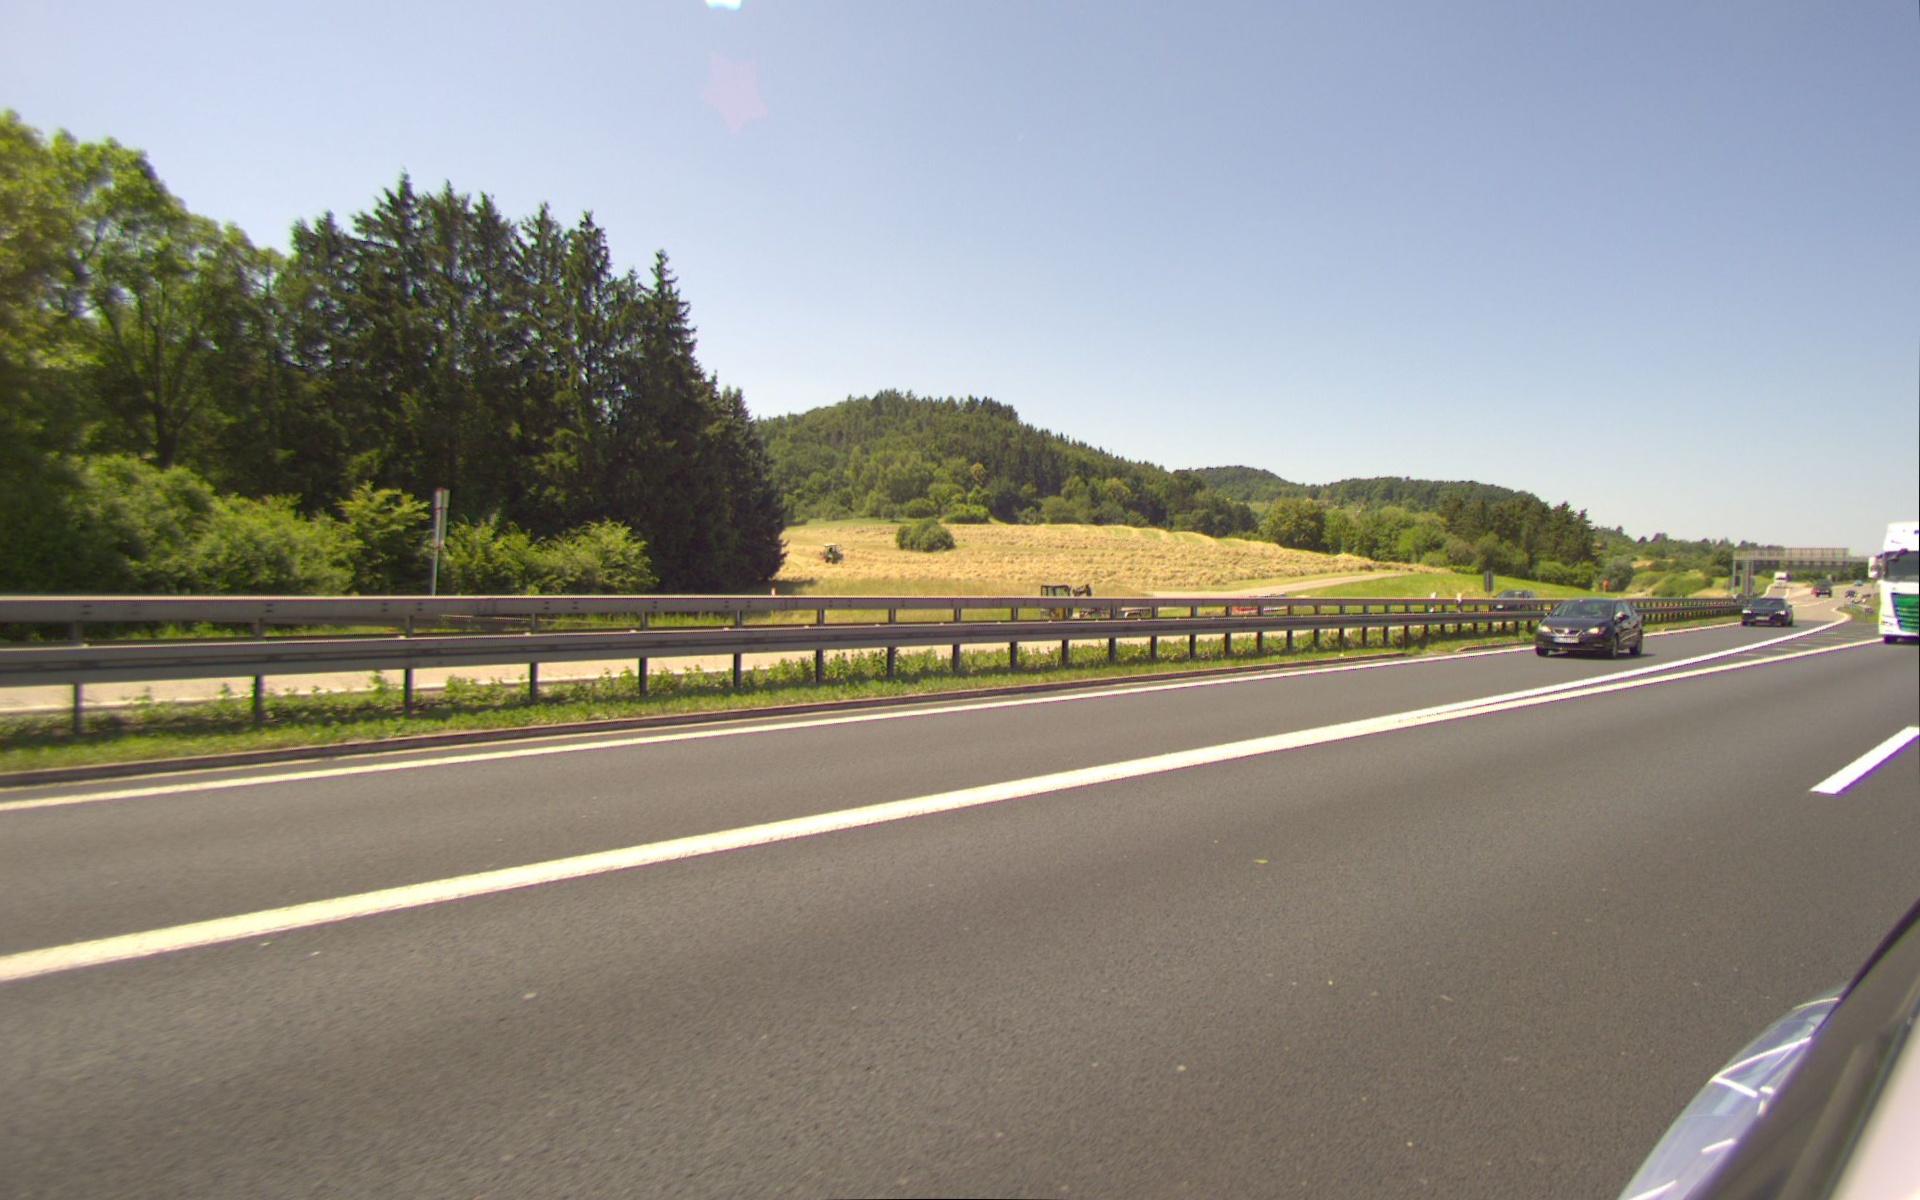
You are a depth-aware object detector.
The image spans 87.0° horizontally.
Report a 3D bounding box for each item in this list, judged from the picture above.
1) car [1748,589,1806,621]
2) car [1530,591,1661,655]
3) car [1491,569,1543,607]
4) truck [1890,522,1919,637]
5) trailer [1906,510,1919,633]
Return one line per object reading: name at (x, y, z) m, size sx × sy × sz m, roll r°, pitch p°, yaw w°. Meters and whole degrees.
car at (40.288, 0.218, 49.899) m, size 1.887 × 1.491 × 3.806 m, roll 0°, pitch 1°, yaw 44°
car at (15.620, 0.506, 24.812) m, size 3.696 × 1.417 × 1.779 m, roll -1°, pitch 1°, yaw -42°
car at (31.213, -0.680, 56.666) m, size 1.989 × 2.038 × 3.947 m, roll 2°, pitch 2°, yaw 37°
truck at (32.181, -0.666, 32.747) m, size 4.328 × 3.638 × 2.646 m, roll -1°, pitch 0°, yaw -42°
trailer at (39.262, -1.021, 39.037) m, size 14.636 × 4.241 × 2.660 m, roll 0°, pitch 0°, yaw -42°
